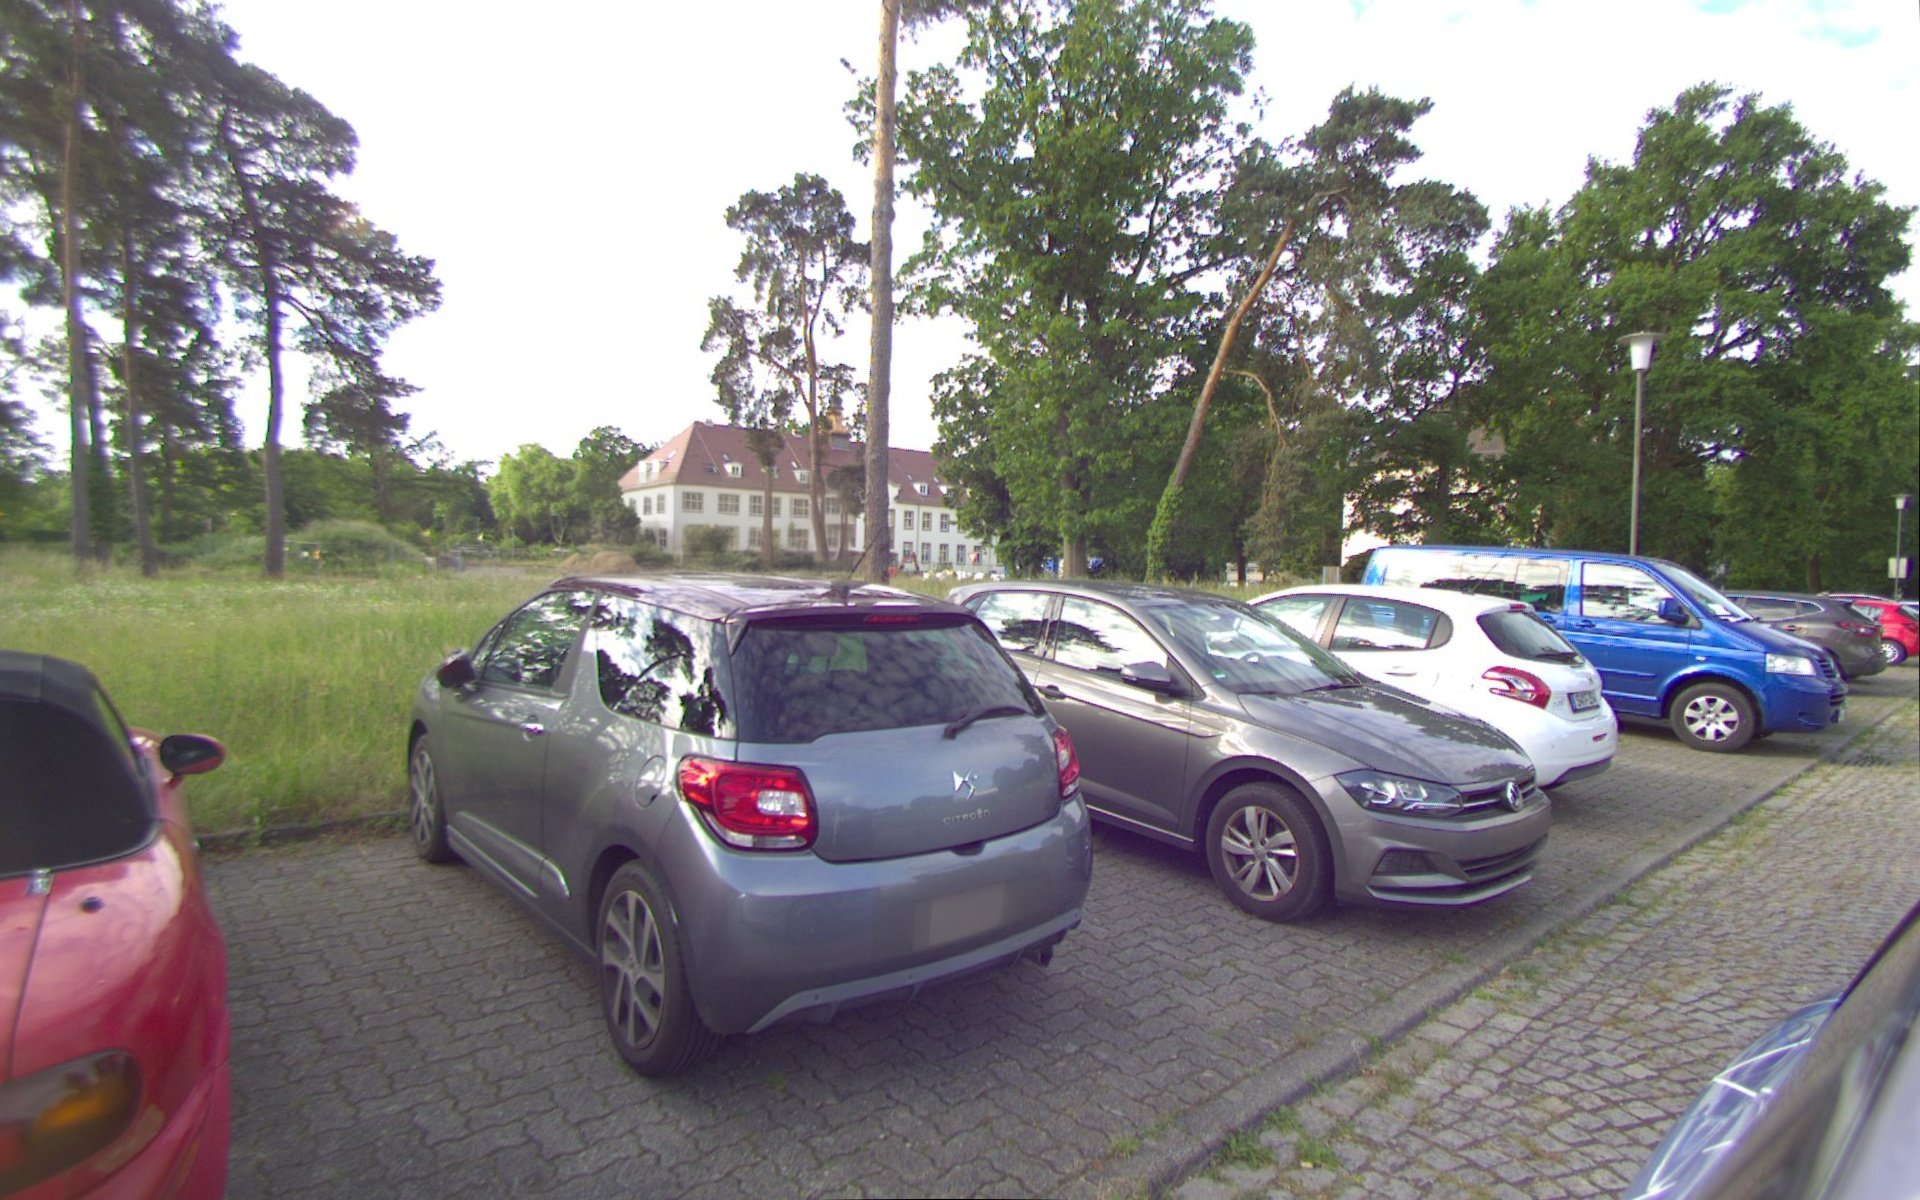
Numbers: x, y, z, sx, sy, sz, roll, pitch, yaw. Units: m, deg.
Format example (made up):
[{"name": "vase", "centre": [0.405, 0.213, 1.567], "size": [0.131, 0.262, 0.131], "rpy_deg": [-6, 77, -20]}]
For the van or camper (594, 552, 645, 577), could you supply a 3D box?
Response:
[{"name": "van or camper", "centre": [-32.712, -3.400, 97.139], "size": [6.062, 2.250, 1.970], "rpy_deg": [3, 2, 42]}]

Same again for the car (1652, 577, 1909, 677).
[{"name": "car", "centre": [15.540, 0.437, 19.280], "size": [1.555, 1.621, 3.626], "rpy_deg": [0, 2, -45]}]

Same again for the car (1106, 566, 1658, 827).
[{"name": "car", "centre": [3.106, 0.537, 8.083], "size": [1.553, 1.517, 3.762], "rpy_deg": [0, 2, -39]}]

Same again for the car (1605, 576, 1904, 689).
[{"name": "car", "centre": [13.457, 0.453, 17.299], "size": [1.555, 1.621, 3.831], "rpy_deg": [0, 2, -45]}]

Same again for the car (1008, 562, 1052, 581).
[{"name": "car", "centre": [6.698, -2.696, 96.652], "size": [3.865, 1.704, 1.848], "rpy_deg": [0, 4, -39]}]

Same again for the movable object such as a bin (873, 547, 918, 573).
[{"name": "movable object such as a bin", "centre": [-7.227, -4.451, 113.894], "size": [1.994, 2.802, 5.123], "rpy_deg": [3, 2, 43]}]

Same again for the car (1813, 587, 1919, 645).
[{"name": "car", "centre": [28.726, 0.495, 30.880], "size": [1.552, 1.638, 3.840], "rpy_deg": [0, 2, -36]}]

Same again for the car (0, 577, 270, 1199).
[{"name": "car", "centre": [-2.736, 0.649, 2.370], "size": [1.579, 1.302, 3.555], "rpy_deg": [-1, 3, -39]}]

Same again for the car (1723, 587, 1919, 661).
[{"name": "car", "centre": [20.843, 0.520, 24.305], "size": [1.555, 1.543, 3.831], "rpy_deg": [0, 2, -45]}]

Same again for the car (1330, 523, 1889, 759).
[{"name": "car", "centre": [7.119, 0.225, 11.645], "size": [2.024, 2.046, 4.954], "rpy_deg": [0, 4, -40]}]

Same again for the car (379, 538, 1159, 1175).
[{"name": "car", "centre": [-1.186, 0.530, 4.376], "size": [1.577, 1.522, 3.835], "rpy_deg": [0, 2, -41]}]

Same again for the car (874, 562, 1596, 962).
[{"name": "car", "centre": [1.249, 0.568, 5.861], "size": [1.613, 1.483, 3.781], "rpy_deg": [0, 2, -39]}]

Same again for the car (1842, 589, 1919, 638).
[{"name": "car", "centre": [32.285, 0.480, 33.919], "size": [1.642, 1.548, 3.840], "rpy_deg": [0, 2, -36]}]
